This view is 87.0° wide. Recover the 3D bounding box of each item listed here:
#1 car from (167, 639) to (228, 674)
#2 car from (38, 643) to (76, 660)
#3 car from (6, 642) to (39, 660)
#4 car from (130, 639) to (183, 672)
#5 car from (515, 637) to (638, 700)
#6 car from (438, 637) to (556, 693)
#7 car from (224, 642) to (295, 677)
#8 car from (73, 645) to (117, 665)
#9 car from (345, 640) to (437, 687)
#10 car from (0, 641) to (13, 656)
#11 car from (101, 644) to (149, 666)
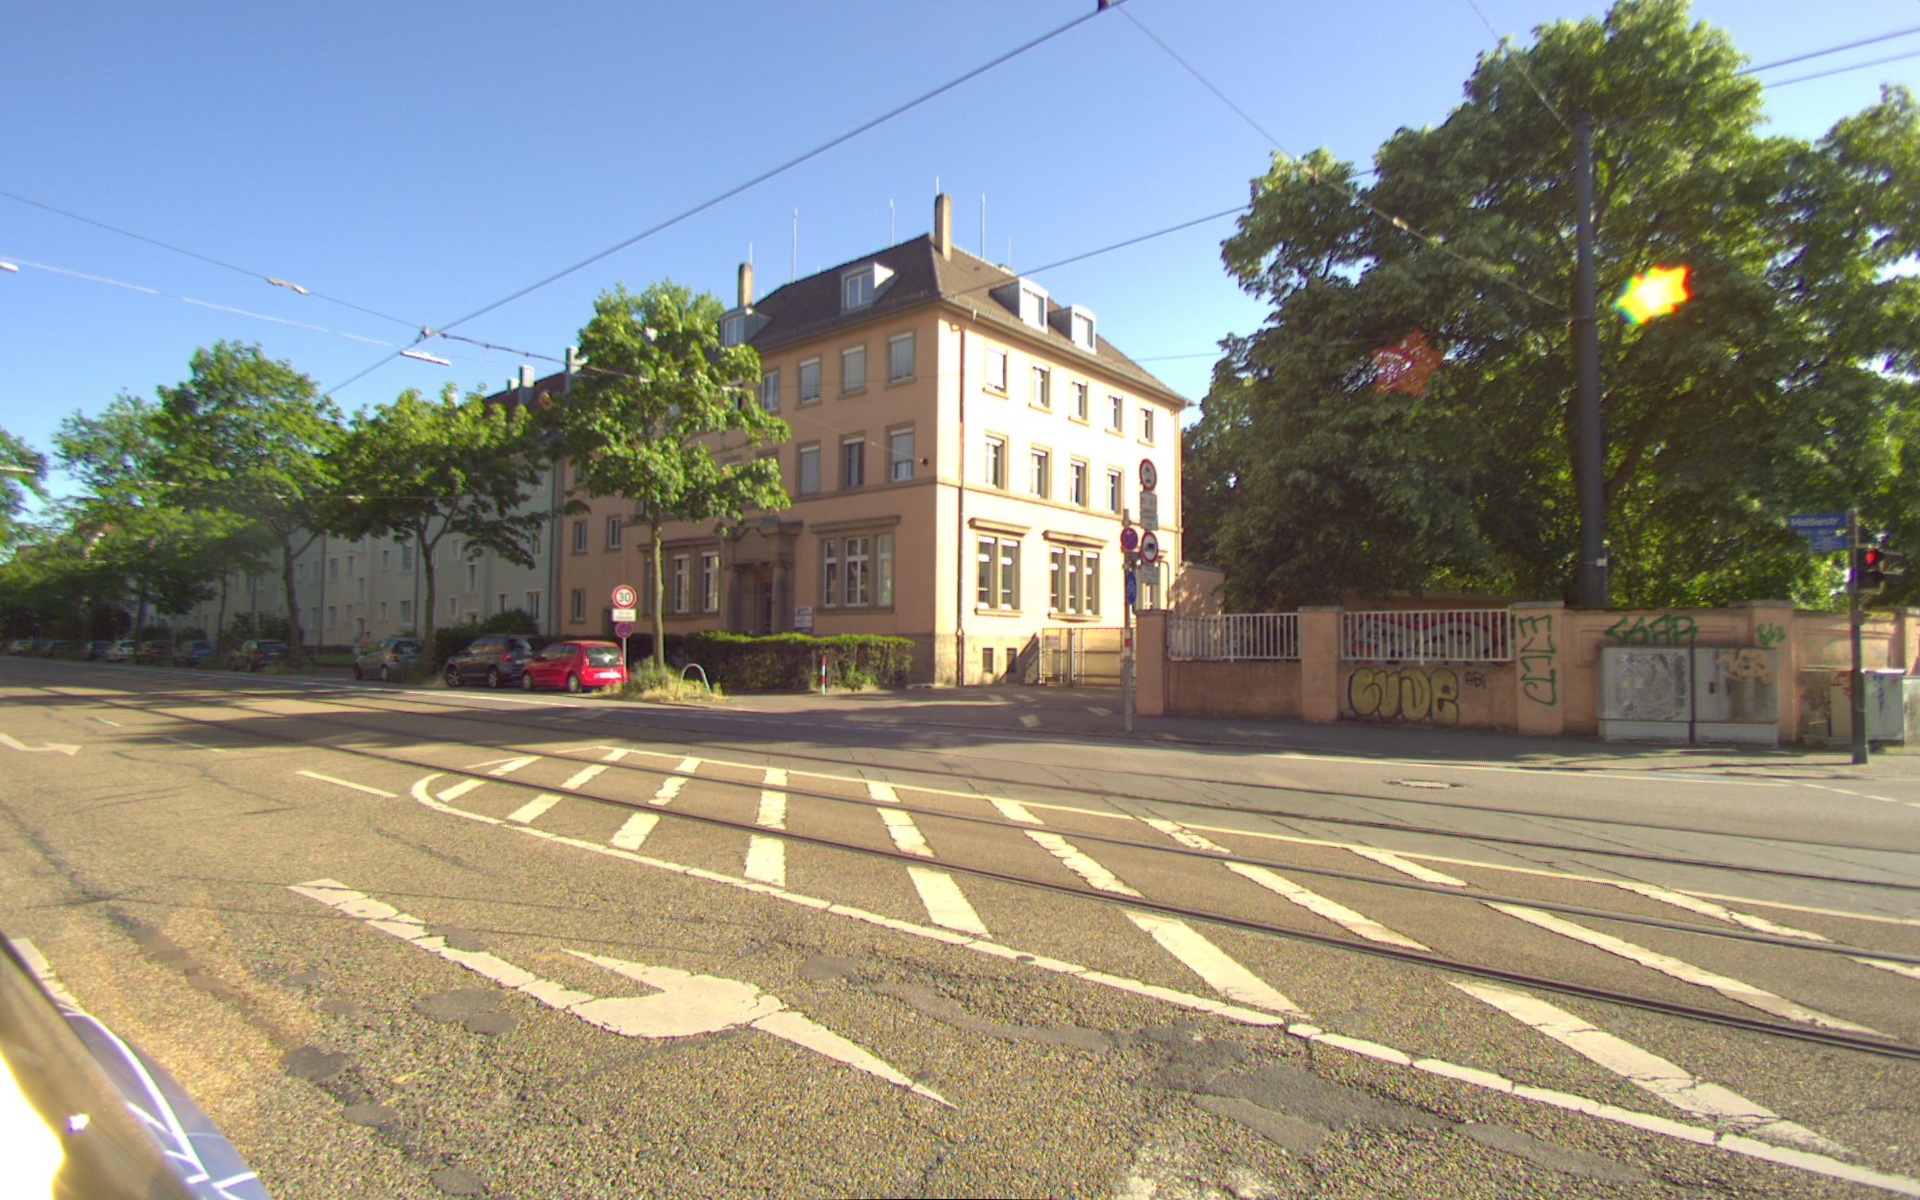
[{"bbox_3d":[-42.618,3.144,56.544,3.791,1.839,1.793,-2,-4,39],"label":"car"},{"bbox_3d":[-76.179,4.357,85.387,3.626,1.430,1.793,-2,-4,39],"label":"car"},{"bbox_3d":[-93.613,5.070,101.039,3.626,1.792,1.793,-2,-4,39],"label":"car"},{"bbox_3d":[-49.548,3.391,62.390,3.626,1.956,1.793,-2,-4,39],"label":"car"},{"bbox_3d":[-11.171,1.951,29.448,3.369,1.719,1.794,-2,-4,37],"label":"car"},{"bbox_3d":[-14.800,2.046,32.285,3.813,1.671,1.794,-2,-4,37],"label":"car"},{"bbox_3d":[-33.711,2.842,48.675,3.626,1.611,1.793,-2,-4,39],"label":"car"},{"bbox_3d":[-63.453,4.006,74.228,3.626,1.430,1.793,-2,-4,39],"label":"car"},{"bbox_3d":[-21.427,2.368,38.074,3.874,1.671,1.792,-2,-4,41],"label":"car"},{"bbox_3d":[-102.828,5.205,108.149,3.626,1.535,1.793,-2,-4,39],"label":"car"},{"bbox_3d":[-56.565,3.733,68.567,3.626,1.430,1.793,-2,-4,39],"label":"car"}]
